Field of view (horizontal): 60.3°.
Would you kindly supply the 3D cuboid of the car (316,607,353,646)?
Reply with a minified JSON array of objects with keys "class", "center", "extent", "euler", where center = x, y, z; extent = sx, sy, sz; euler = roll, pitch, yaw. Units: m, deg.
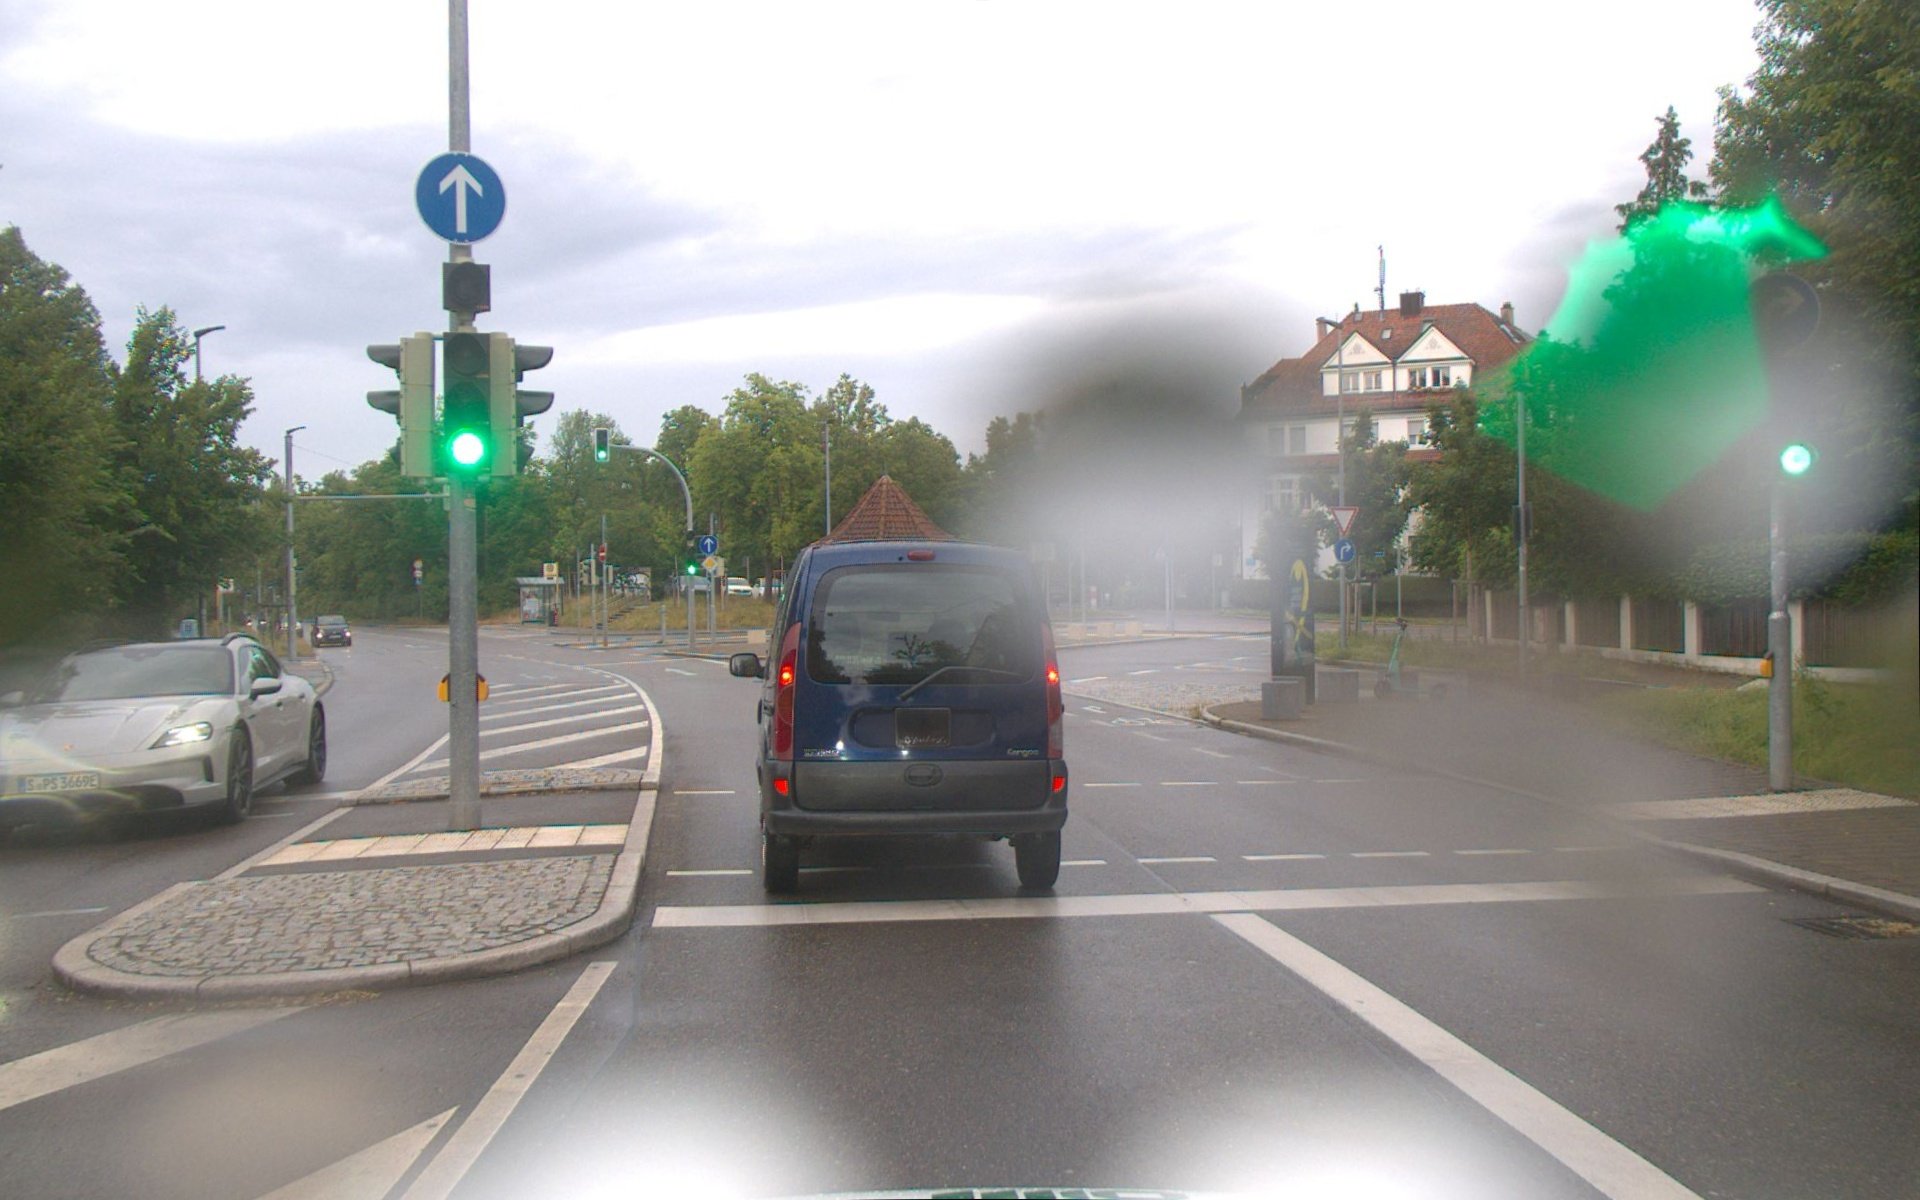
[{"class":"car","center":[-29.957,1.240,79.248],"extent":[1.554,1.761,3.751],"euler":[-3,1,-21]}]

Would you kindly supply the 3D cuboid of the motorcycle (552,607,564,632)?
[{"class":"motorcycle","center":[-22.299,1.072,91.767],"extent":[0.578,1.311,1.533],"euler":[-2,1,-11]}]

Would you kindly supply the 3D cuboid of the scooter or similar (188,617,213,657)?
[{"class":"scooter or similar","center":[-24.090,1.160,52.465],"extent":[0.509,1.233,1.461],"euler":[-1,0,-18]}]

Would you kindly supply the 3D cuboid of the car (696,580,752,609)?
[{"class":"car","center":[-13.145,-0.268,91.847],"extent":[1.968,1.506,4.251],"euler":[0,-1,-25]}]

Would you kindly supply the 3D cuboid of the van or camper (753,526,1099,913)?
[{"class":"van or camper","center":[-0.395,0.580,10.116],"extent":[1.680,1.858,3.994],"euler":[-1,0,-7]}]

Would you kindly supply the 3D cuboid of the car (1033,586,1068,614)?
[{"class":"car","center":[6.882,0.000,126.420],"extent":[1.956,2.049,3.993],"euler":[-1,0,-8]}]

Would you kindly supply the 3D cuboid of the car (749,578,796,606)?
[{"class":"car","center":[-10.988,-0.442,96.809],"extent":[1.858,1.506,4.044],"euler":[0,-1,-20]}]

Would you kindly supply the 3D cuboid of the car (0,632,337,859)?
[{"class":"car","center":[-6.540,1.041,13.504],"extent":[1.906,1.400,4.591],"euler":[-3,0,-11]}]

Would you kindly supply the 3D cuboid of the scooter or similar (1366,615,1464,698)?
[{"class":"scooter or similar","center":[6.919,0.856,25.167],"extent":[1.323,1.228,0.523],"euler":[1,-1,-10]}]

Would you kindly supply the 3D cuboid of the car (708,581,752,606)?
[{"class":"car","center":[-14.855,-0.406,106.660],"extent":[1.859,1.506,4.042],"euler":[-1,-1,-21]}]

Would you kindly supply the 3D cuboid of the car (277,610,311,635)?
[{"class":"car","center":[-39.952,1.320,99.187],"extent":[1.718,1.375,4.177],"euler":[-3,1,-24]}]
